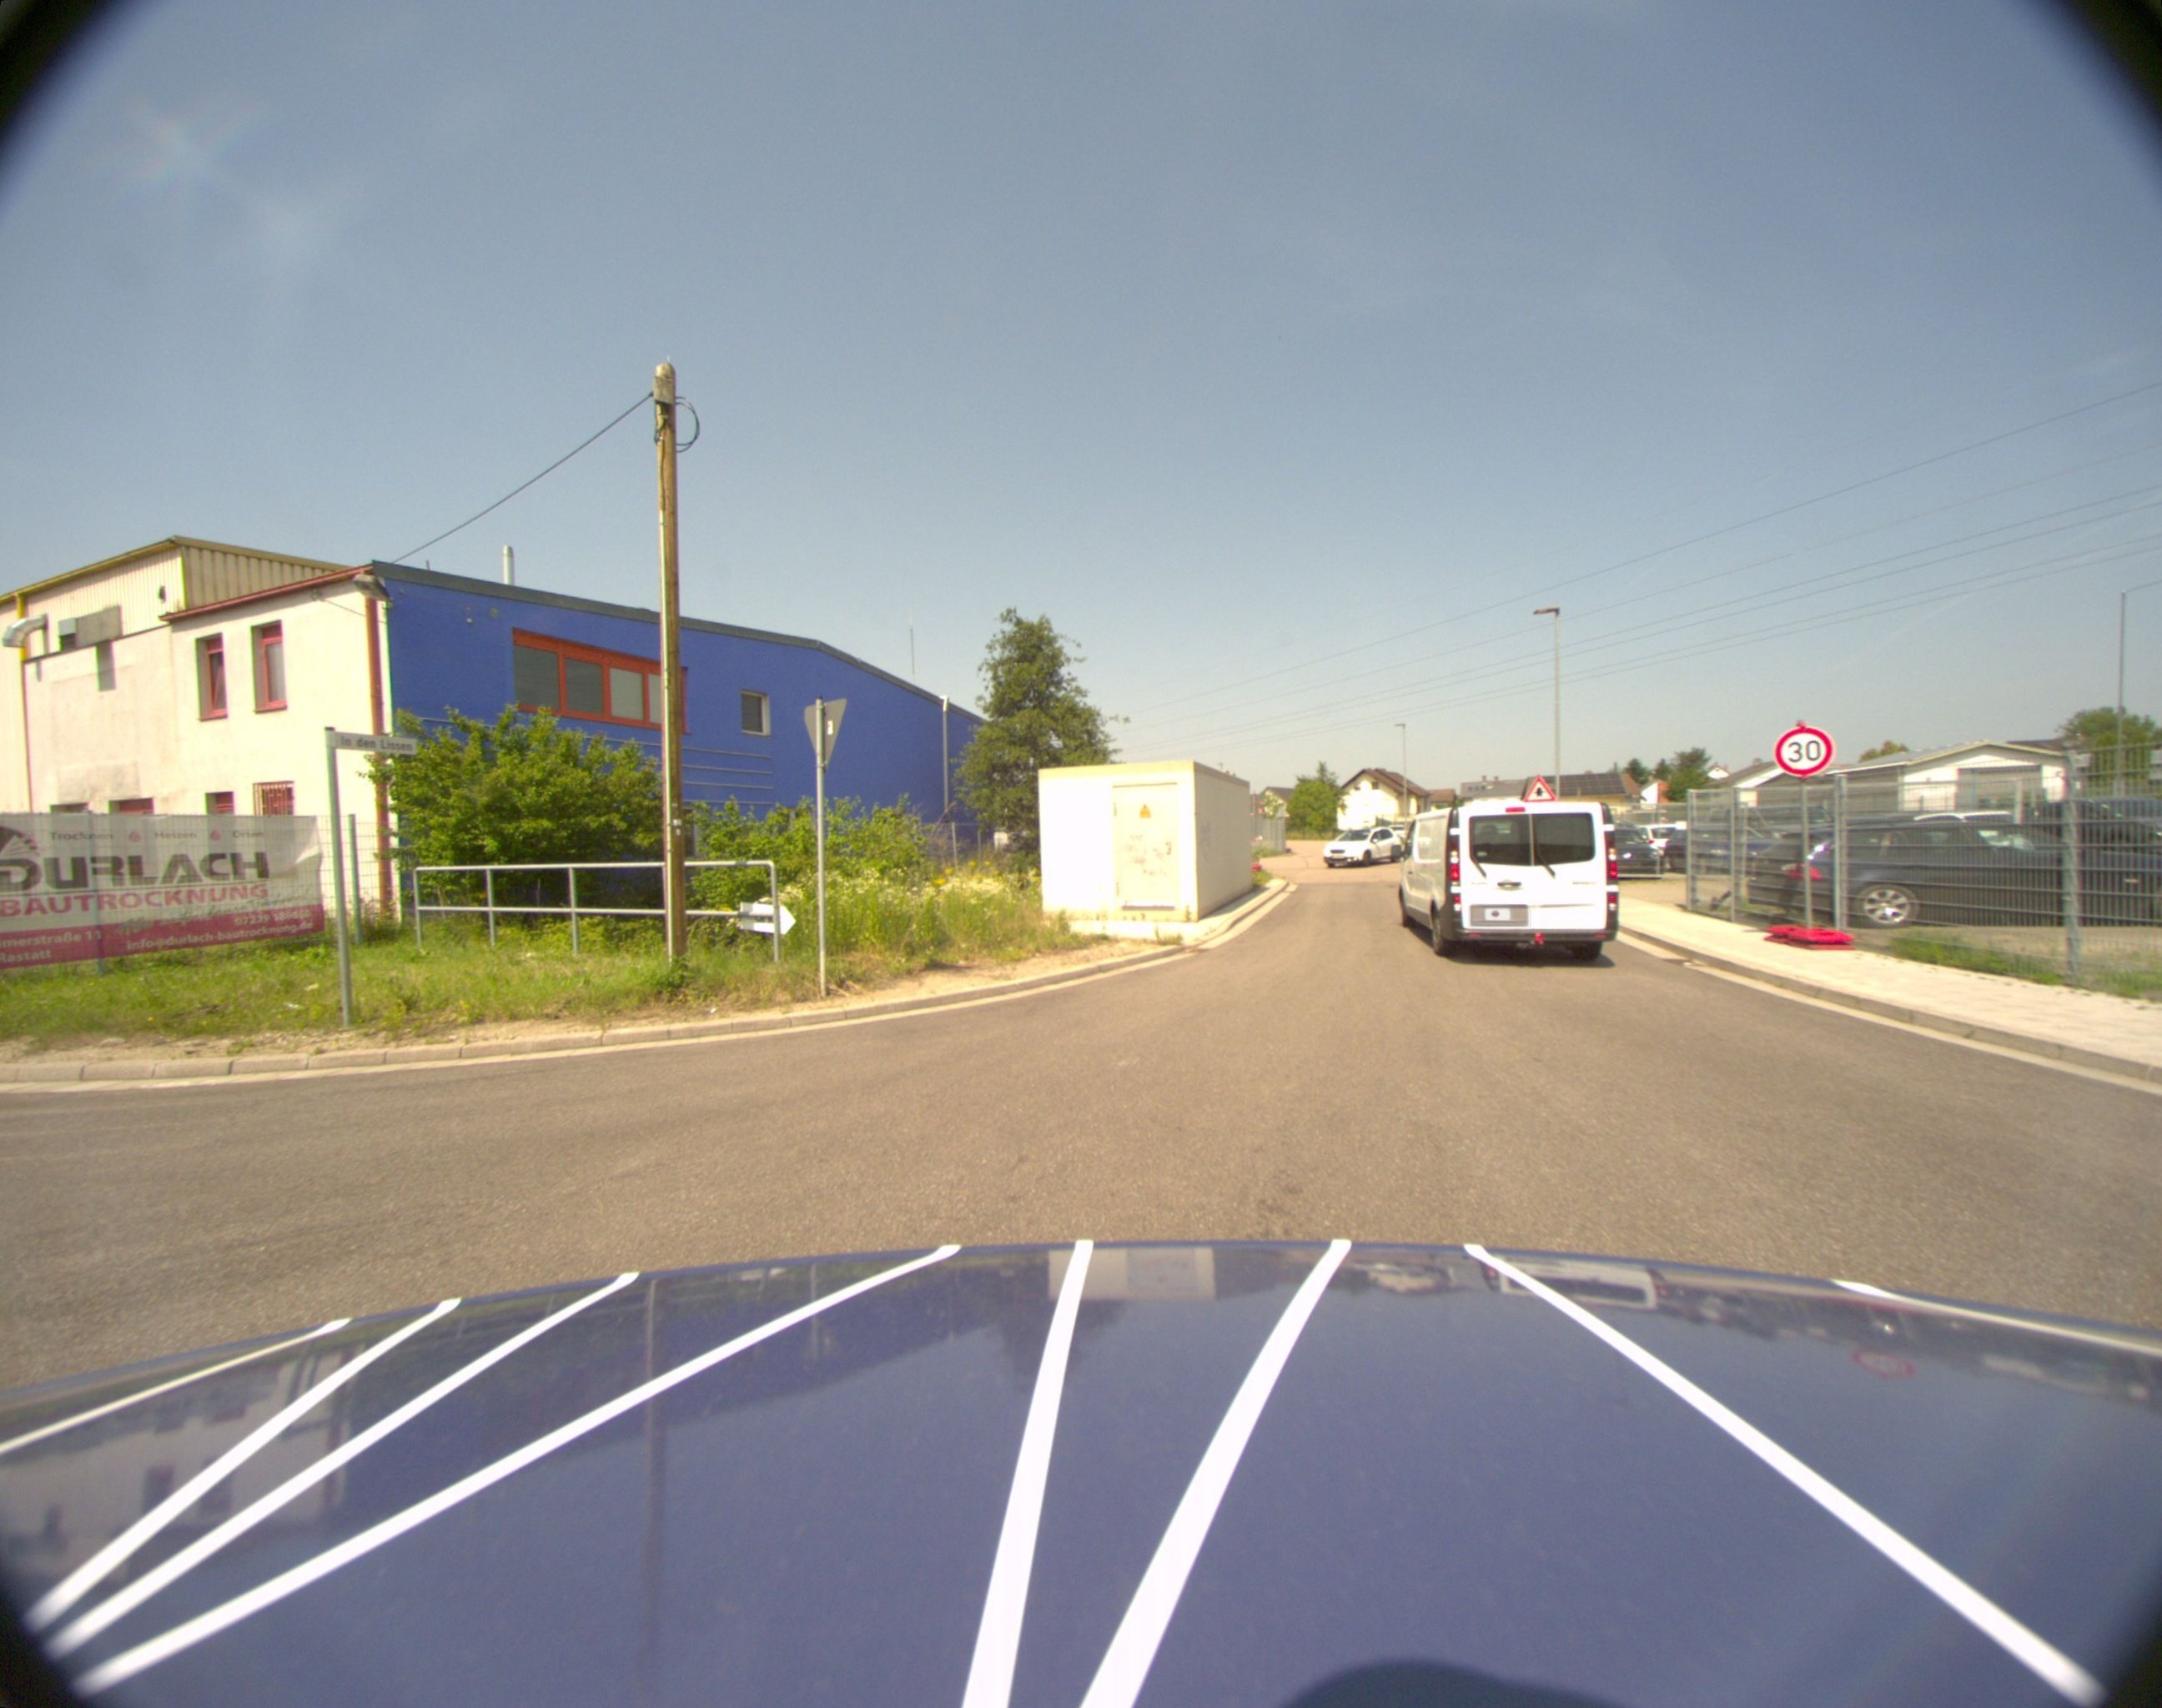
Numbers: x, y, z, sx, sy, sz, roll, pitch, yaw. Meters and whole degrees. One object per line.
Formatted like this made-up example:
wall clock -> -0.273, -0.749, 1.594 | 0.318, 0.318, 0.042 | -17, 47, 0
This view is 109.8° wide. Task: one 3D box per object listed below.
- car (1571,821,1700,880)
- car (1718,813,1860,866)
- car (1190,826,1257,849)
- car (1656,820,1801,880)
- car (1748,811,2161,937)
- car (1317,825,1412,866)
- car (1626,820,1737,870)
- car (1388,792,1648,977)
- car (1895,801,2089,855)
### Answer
car -> 15.870, -0.132, 21.991 | 1.771, 1.494, 4.004 | -2, 1, 17
car -> 22.652, -0.469, 24.525 | 1.771, 1.494, 4.004 | -2, 1, 17
car -> 10.039, -1.132, 53.771 | 4.570, 1.419, 2.001 | -2, 1, 9
car -> 18.238, -0.144, 21.625 | 1.771, 1.494, 3.815 | -2, 1, 17
car -> 11.980, 0.268, 10.326 | 3.991, 1.494, 1.777 | -2, 1, 21
car -> 11.729, -0.372, 31.300 | 4.169, 1.494, 1.770 | -3, 2, -39
car -> 20.147, -0.312, 25.702 | 1.771, 1.494, 4.005 | -2, 1, 21
car -> 5.861, 0.326, 10.955 | 2.005, 2.048, 4.818 | 0, 0, 14
car -> 27.327, -0.751, 23.032 | 1.894, 1.412, 4.205 | -2, 1, 20
